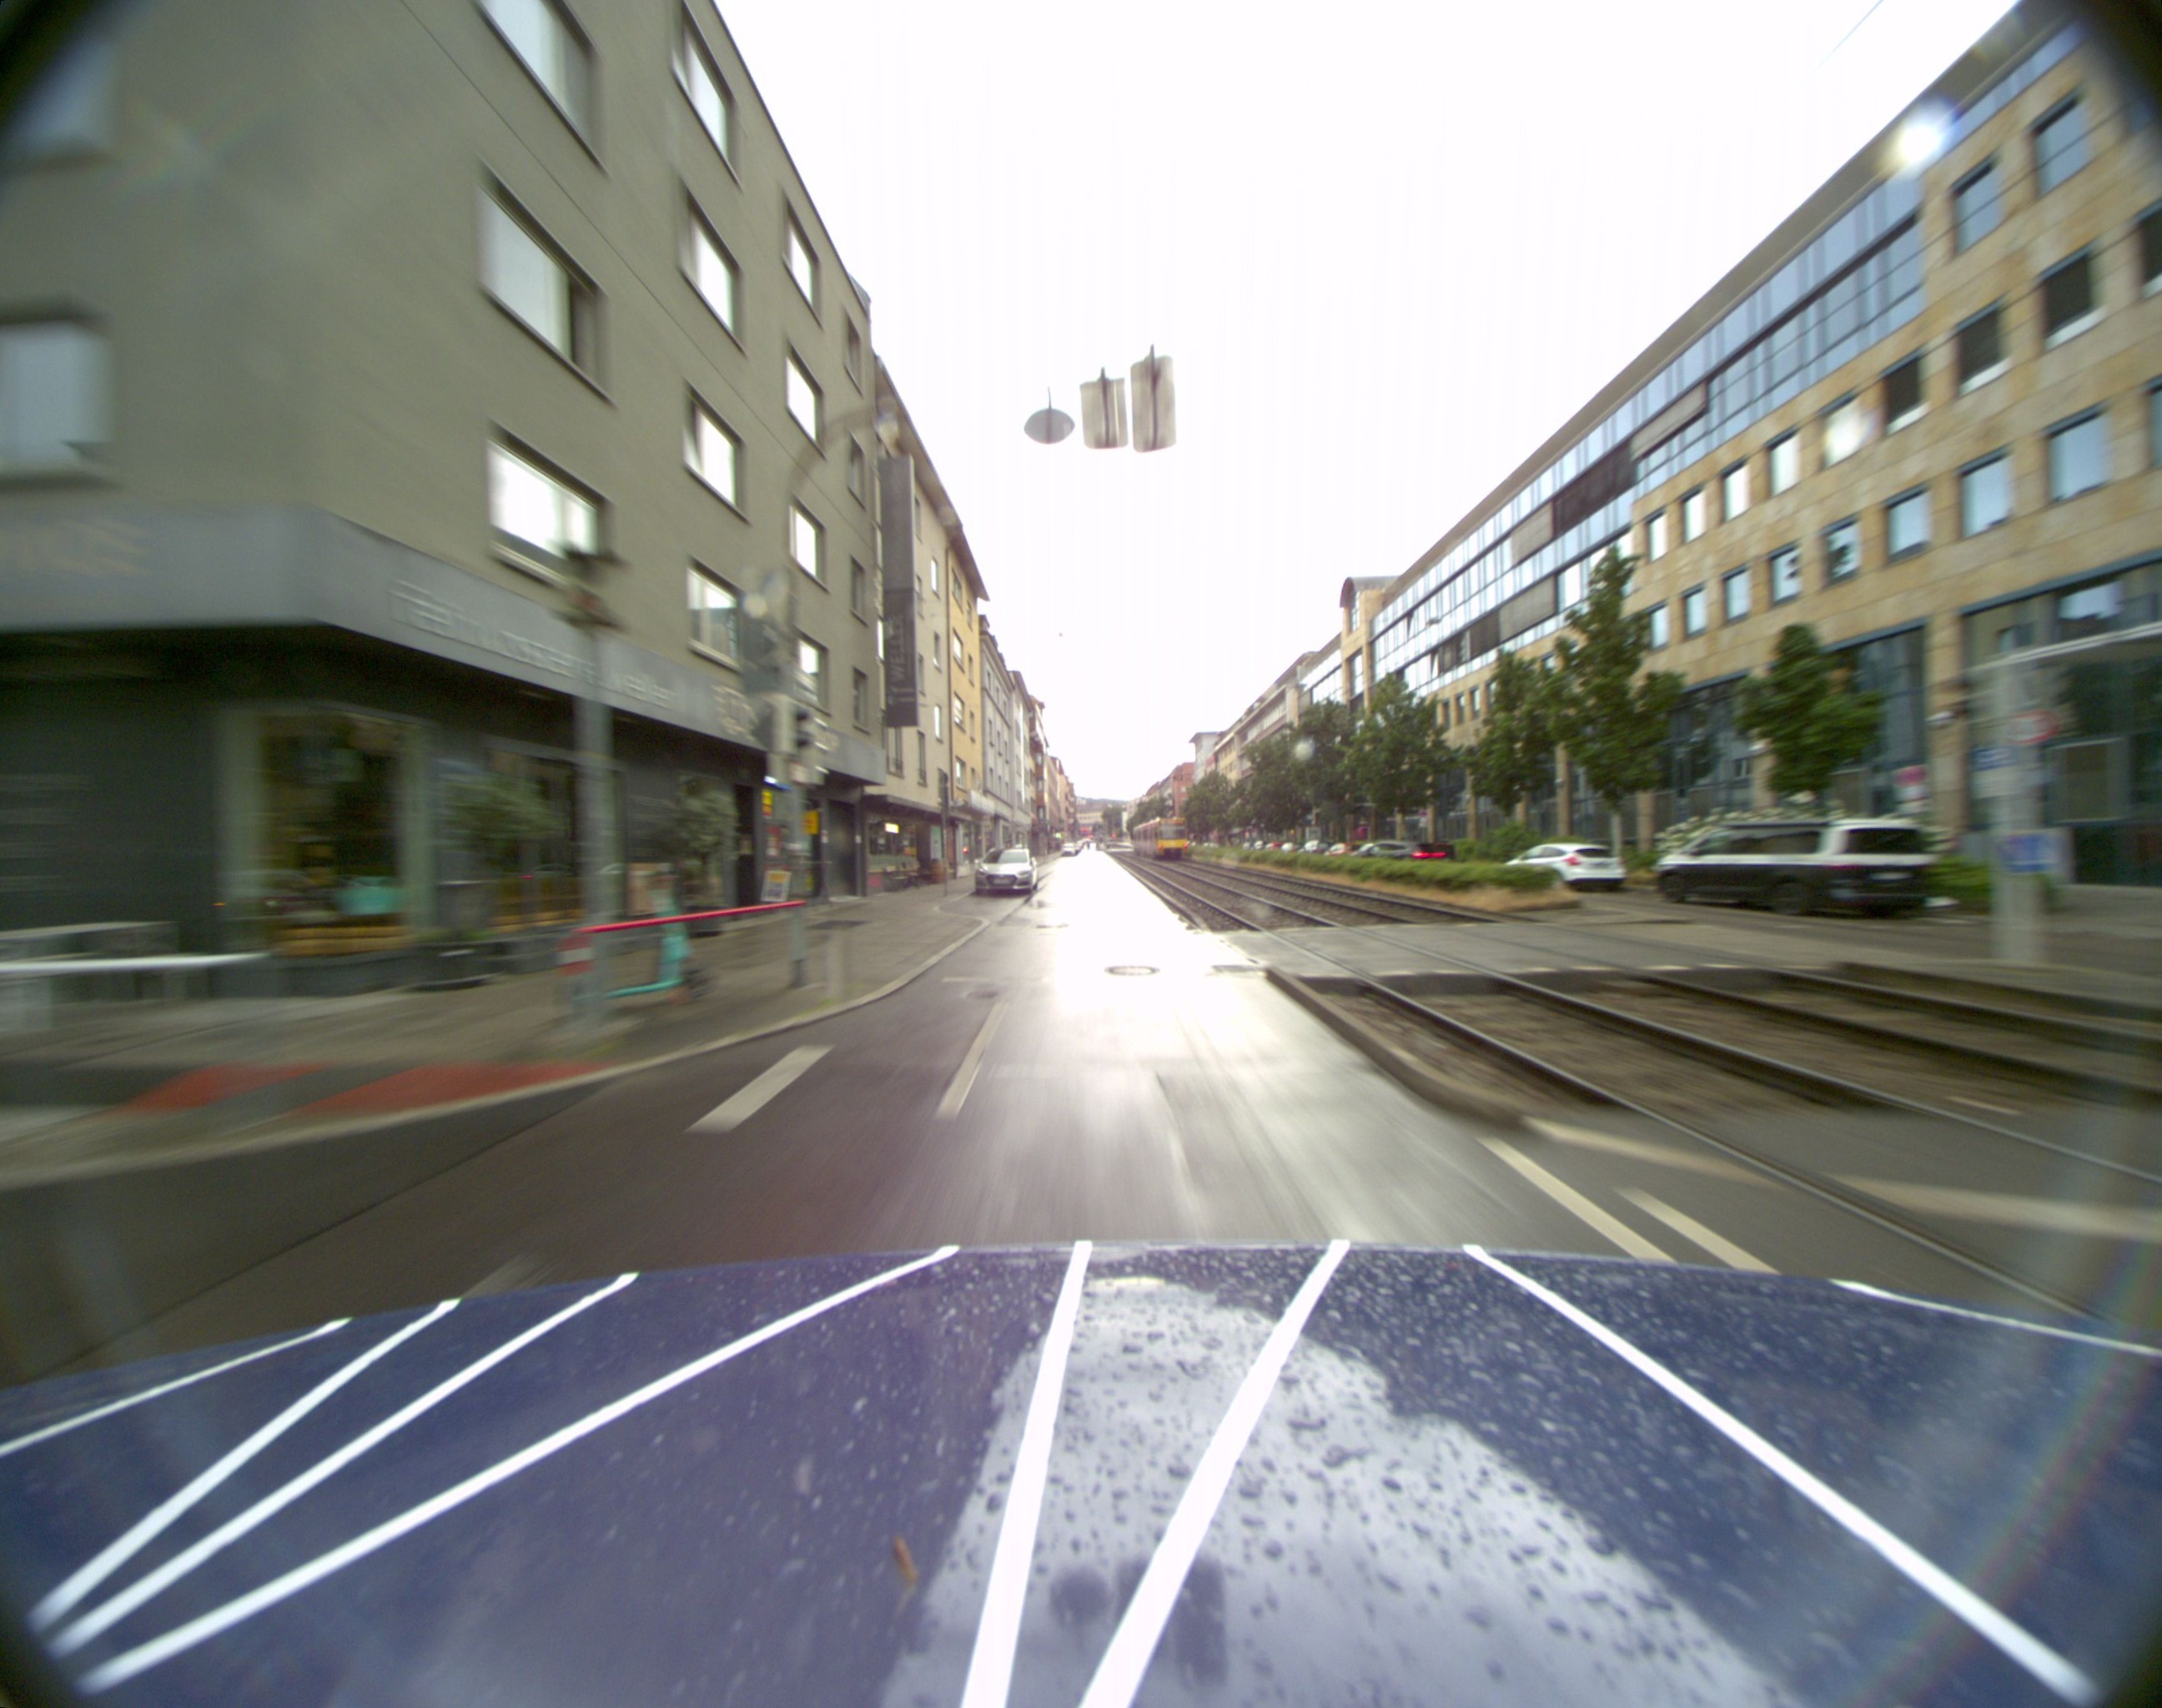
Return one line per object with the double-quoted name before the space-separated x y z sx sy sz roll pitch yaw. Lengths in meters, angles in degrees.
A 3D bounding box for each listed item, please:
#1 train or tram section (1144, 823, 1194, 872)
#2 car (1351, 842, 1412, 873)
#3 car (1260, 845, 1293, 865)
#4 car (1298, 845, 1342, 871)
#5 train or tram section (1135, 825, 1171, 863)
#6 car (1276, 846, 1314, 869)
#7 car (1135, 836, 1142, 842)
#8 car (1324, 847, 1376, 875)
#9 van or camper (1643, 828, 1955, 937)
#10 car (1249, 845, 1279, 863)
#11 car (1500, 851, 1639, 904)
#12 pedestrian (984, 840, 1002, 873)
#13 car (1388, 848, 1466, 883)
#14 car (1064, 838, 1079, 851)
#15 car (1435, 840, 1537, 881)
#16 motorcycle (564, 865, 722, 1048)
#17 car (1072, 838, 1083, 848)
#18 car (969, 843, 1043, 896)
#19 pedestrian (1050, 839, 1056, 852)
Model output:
"train or tram section" 8.169 -0.831 73.243 2.909 4.028 18.762 -1 2 1
"car" 15.593 0.143 39.639 1.653 1.489 4.192 -1 1 2
"car" 16.159 0.080 62.965 1.653 1.532 4.621 -1 1 2
"car" 15.850 0.226 50.592 1.653 1.592 4.292 -1 1 2
"train or tram section" 8.484 -1.375 91.839 2.909 4.028 18.406 -1 2 1
"car" 16.055 0.228 57.139 1.653 1.532 4.621 -1 1 2
"car" 17.769 -4.556 235.909 1.998 1.779 3.999 -1 1 0
"car" 15.865 0.389 44.982 1.653 1.489 4.292 -1 1 2
"van or camper" 15.261 0.441 16.728 2.022 1.986 5.196 -1 2 1
"car" 16.280 -0.027 67.774 1.653 1.532 4.621 -1 1 2
"car" 15.411 0.669 24.275 1.693 1.477 4.255 -2 0 0
"pedestrian" -4.522 0.137 39.155 0.793 1.650 0.721 -2 2 1
"car" 15.731 0.492 34.785 1.693 1.477 3.999 -2 0 0
"car" -1.147 -1.197 93.557 1.653 1.489 4.067 -1 1 2
"car" 15.871 0.219 30.029 1.693 1.477 4.295 -2 0 -1
"motorcycle" -3.907 0.845 6.793 1.134 1.453 0.682 -2 2 -35
"car" -0.593 -1.774 125.703 1.653 1.584 4.067 -1 1 2
"car" -2.461 0.459 26.031 2.029 1.585 4.619 -1 1 0
"pedestrian" -3.570 -1.120 97.420 0.640 1.691 0.883 -1 2 2
